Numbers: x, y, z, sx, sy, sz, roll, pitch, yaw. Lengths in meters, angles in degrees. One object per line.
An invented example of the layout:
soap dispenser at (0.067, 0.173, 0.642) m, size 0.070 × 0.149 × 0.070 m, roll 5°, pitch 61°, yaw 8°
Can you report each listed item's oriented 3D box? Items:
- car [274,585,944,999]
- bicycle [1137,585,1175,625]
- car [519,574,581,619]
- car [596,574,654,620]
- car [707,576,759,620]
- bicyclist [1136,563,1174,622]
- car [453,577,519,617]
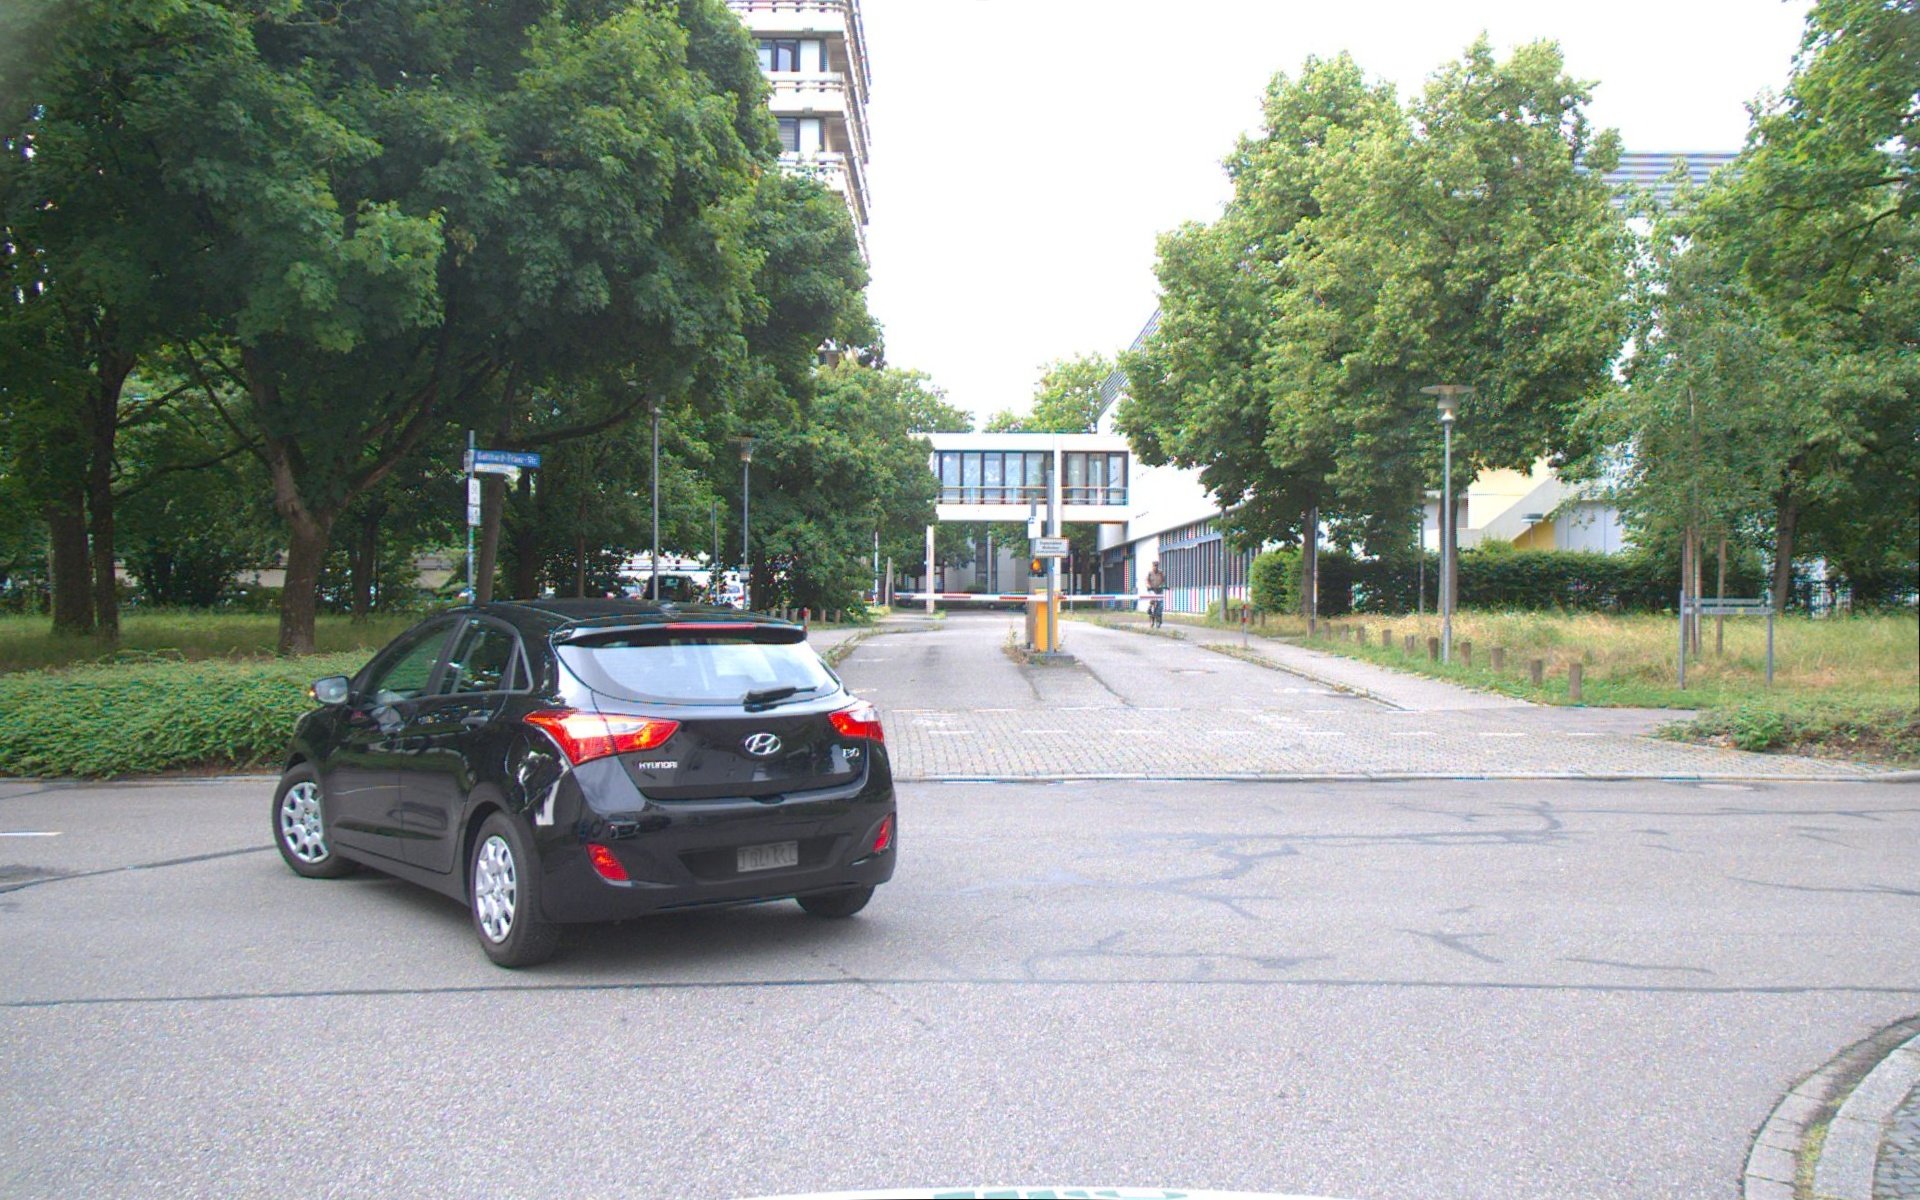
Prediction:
car at (-1.904, 0.692, 8.038) m, size 1.831 × 1.488 × 3.779 m, roll 0°, pitch 0°, yaw -36°
bicycle at (5.624, 0.127, 47.581) m, size 0.849 × 1.093 × 2.141 m, roll 0°, pitch 1°, yaw 0°
car at (-17.048, -0.120, 68.951) m, size 1.955 × 1.758 × 3.995 m, roll 0°, pitch -1°, yaw -5°
car at (-14.014, -0.099, 69.370) m, size 1.955 × 1.825 × 3.995 m, roll 0°, pitch -1°, yaw -5°
car at (-9.514, -0.069, 69.567) m, size 1.955 × 1.793 × 3.995 m, roll 0°, pitch -1°, yaw -5°
bicyclist at (5.604, -0.228, 47.557) m, size 0.996 × 1.673 × 0.923 m, roll 0°, pitch 1°, yaw -1°
car at (-19.715, -0.135, 68.940) m, size 1.955 × 1.646 × 3.995 m, roll 0°, pitch 0°, yaw -5°
